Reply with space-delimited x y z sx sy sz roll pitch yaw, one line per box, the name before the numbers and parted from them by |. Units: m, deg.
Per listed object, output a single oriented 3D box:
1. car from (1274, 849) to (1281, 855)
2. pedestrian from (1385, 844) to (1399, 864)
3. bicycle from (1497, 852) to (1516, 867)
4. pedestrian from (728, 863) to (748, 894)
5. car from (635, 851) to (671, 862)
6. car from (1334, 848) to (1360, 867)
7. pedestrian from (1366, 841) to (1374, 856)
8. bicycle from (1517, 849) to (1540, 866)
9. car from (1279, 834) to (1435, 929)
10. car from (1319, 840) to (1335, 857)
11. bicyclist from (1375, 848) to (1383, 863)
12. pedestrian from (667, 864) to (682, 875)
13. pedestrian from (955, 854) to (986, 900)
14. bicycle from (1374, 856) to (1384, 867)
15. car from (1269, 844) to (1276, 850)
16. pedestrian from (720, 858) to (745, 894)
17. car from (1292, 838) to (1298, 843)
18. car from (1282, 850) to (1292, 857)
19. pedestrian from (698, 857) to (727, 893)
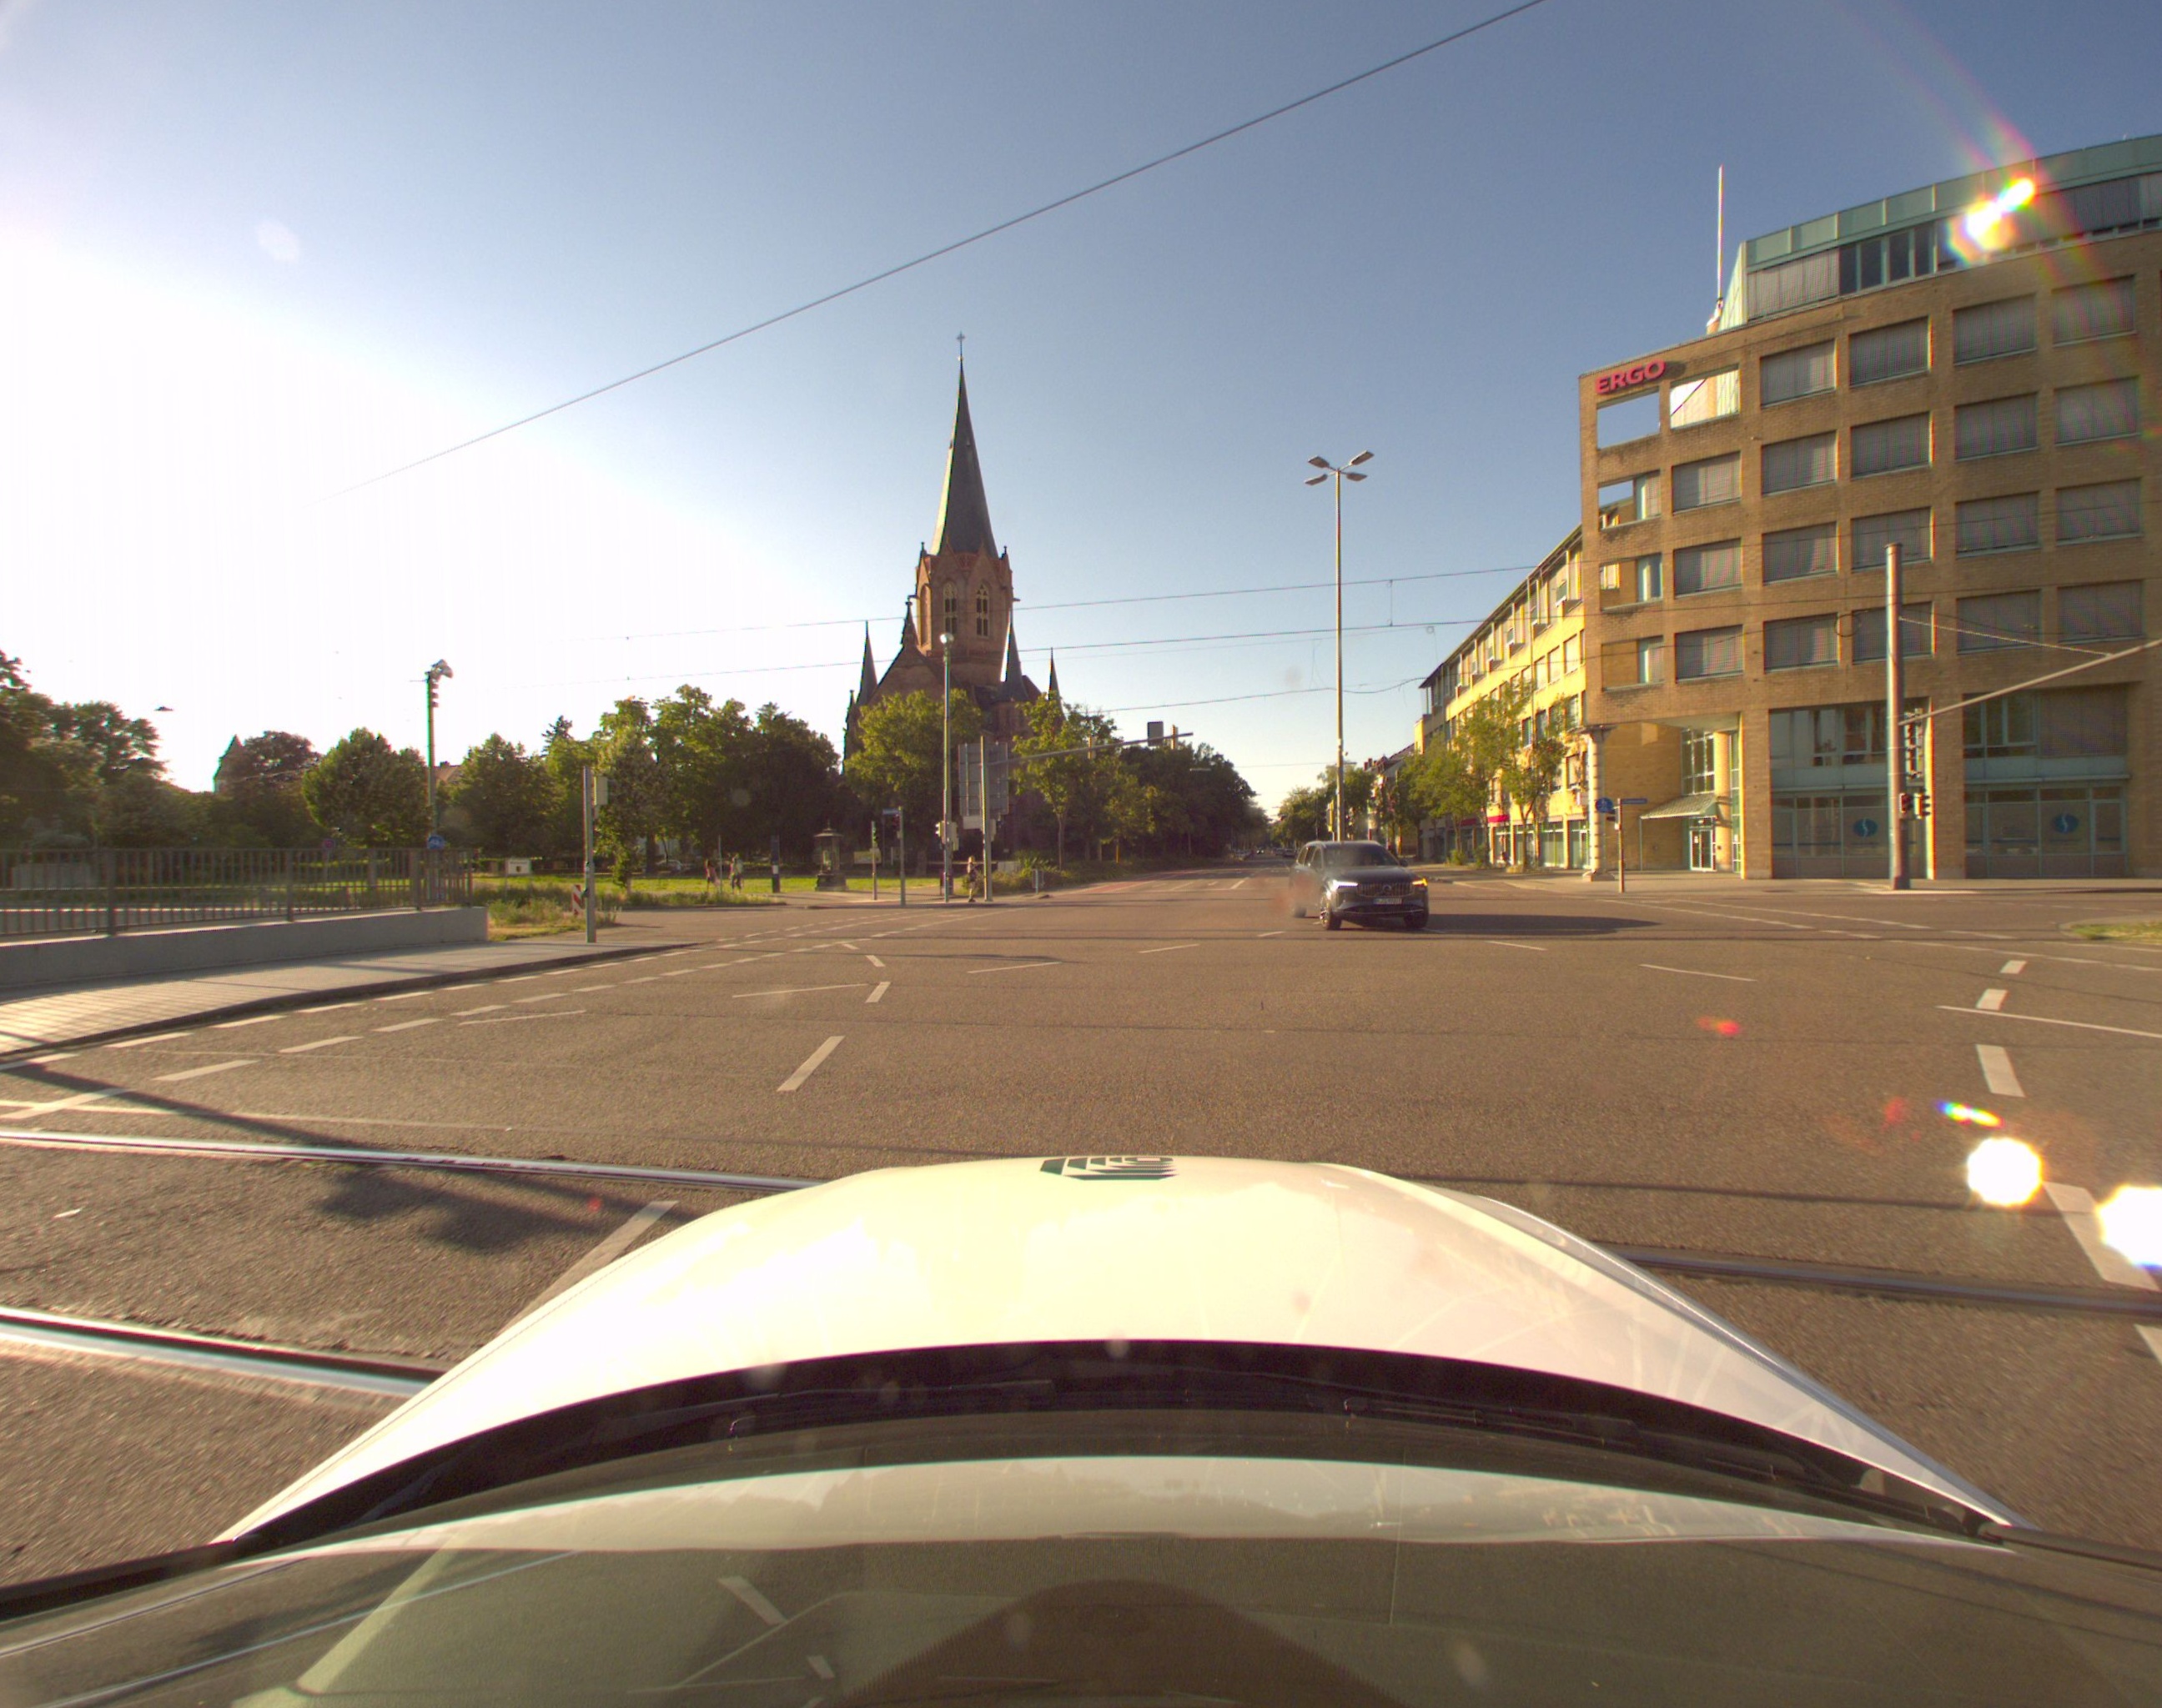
car | 42.809 -0.370 177.265 1.583 1.267 3.279 -1 1 14
pedestrian | 30.815 -0.035 80.612 1.100 1.976 1.165 -1 0 13
bicycle | 28.130 0.352 53.856 0.642 0.994 2.088 -1 0 13
pedestrian | -19.520 1.400 46.281 1.018 1.696 0.838 0 0 -25
car | -65.921 0.423 125.458 4.433 1.571 2.001 -1 0 2
car | 23.213 0.264 71.183 1.903 1.607 4.285 0 1 14
pedestrian | 35.256 -0.675 99.230 0.842 1.803 0.778 -1 0 13
bicycle | 27.044 0.226 49.222 0.642 0.994 2.088 -1 0 13
car | 5.711 0.528 17.584 1.984 1.723 5.037 -1 -1 4
car | 34.376 -0.772 113.986 1.979 2.440 4.015 0 1 14
bicyclist | 27.487 0.114 75.110 0.588 1.369 0.933 0 1 14
pedestrian | -35.993 1.371 72.116 0.801 0.953 1.171 0 1 -8
pedestrian | -4.211 0.868 31.078 0.803 1.739 0.972 -1 0 15
bicycle | 27.491 0.642 75.136 0.588 0.943 1.986 0 1 14
car | 51.585 -1.934 219.555 1.873 1.671 4.015 0 1 14
pedestrian | -16.444 1.029 38.434 0.884 1.696 0.715 0 0 33
car | 58.414 -3.781 222.153 1.583 1.267 3.279 -1 1 14
car | 36.100 -0.082 142.744 1.583 1.267 3.279 -1 1 14
pedestrian | -17.874 1.018 39.508 1.004 1.696 0.850 0 0 33
